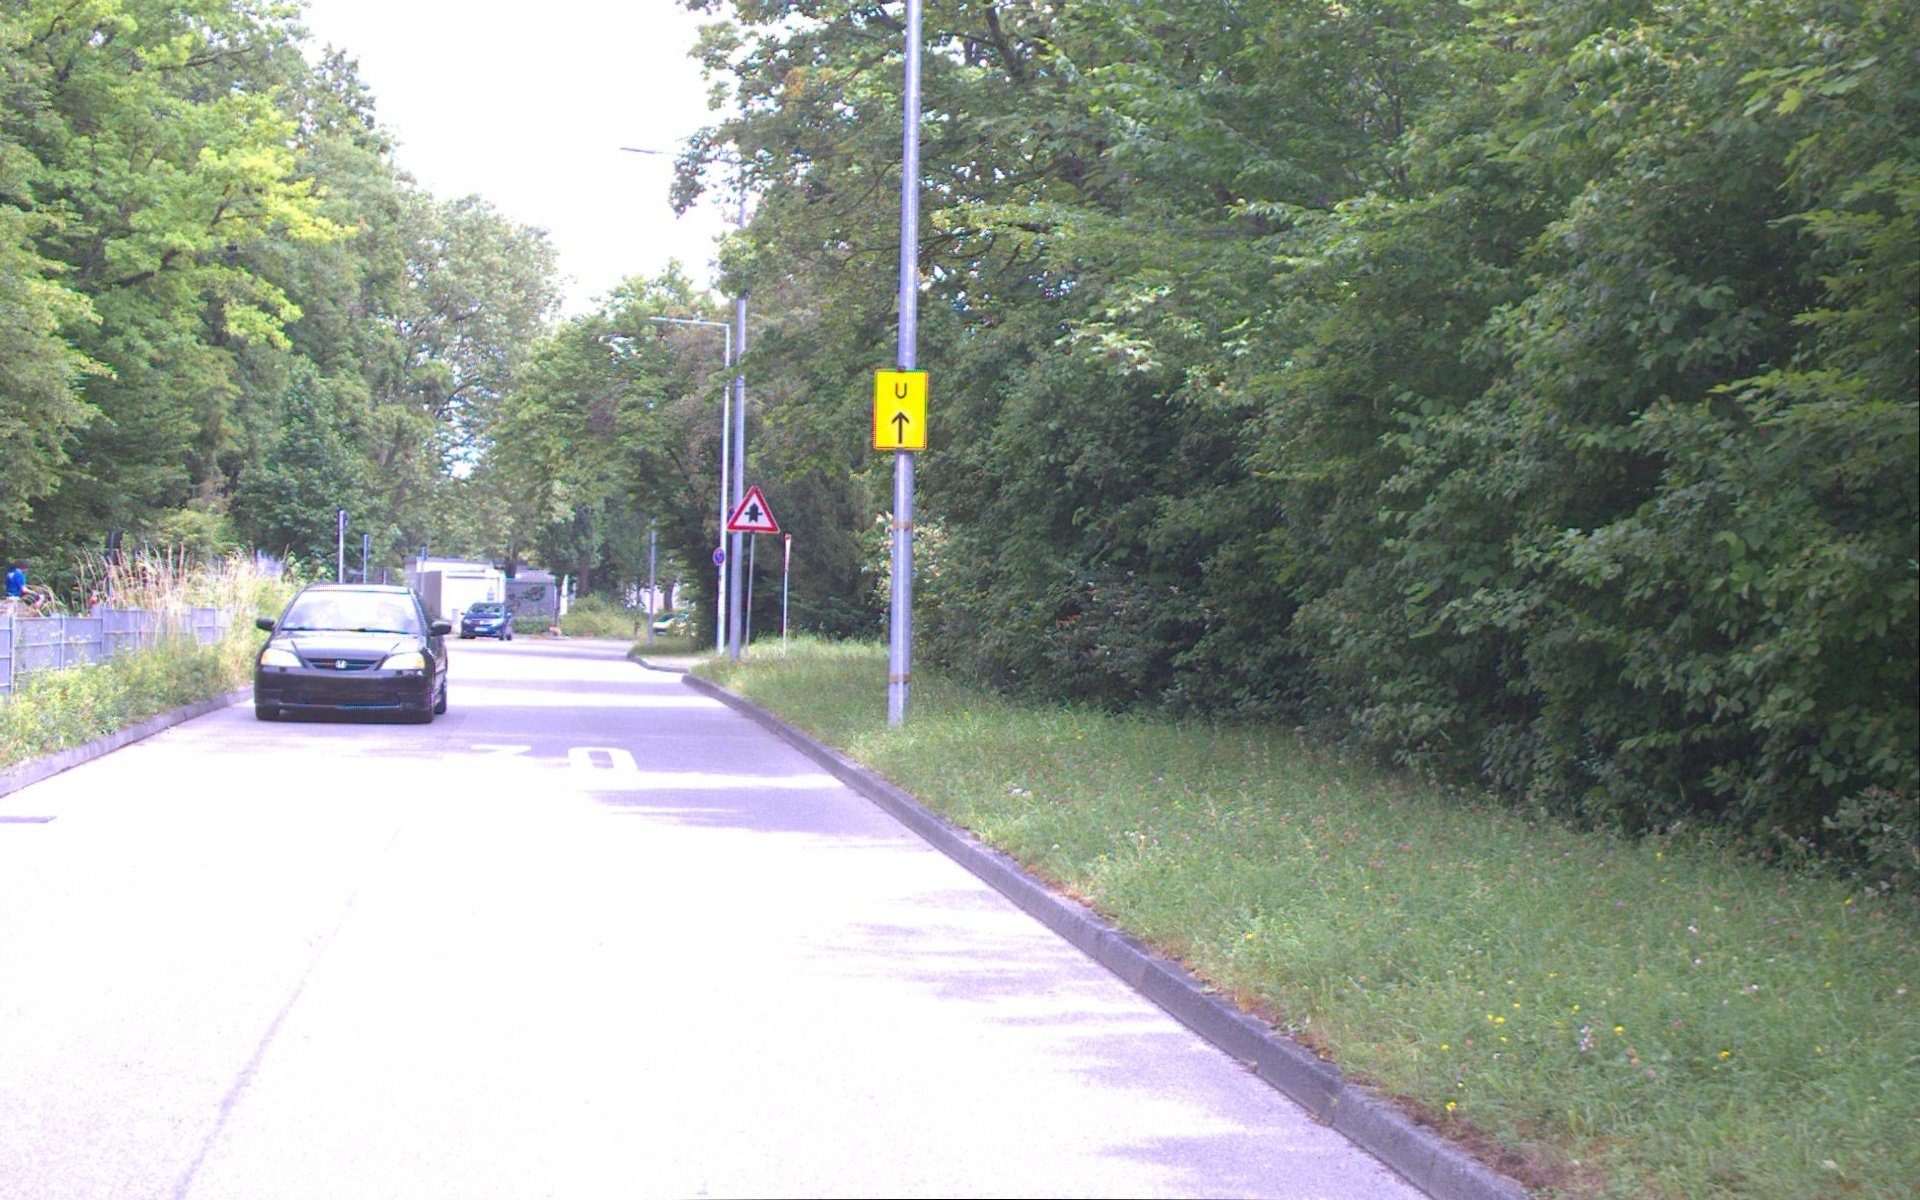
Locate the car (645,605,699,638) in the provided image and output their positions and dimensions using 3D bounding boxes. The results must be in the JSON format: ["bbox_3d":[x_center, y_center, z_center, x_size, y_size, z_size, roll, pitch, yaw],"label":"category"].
[{"bbox_3d":[-14.613,1.119,174.691,1.860,1.487,3.998,-1,-3,8],"label":"car"}]

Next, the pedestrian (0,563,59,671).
[{"bbox_3d":[-17.831,0.333,65.667,0.877,2.007,0.865,-3,-4,39],"label":"pedestrian"}]

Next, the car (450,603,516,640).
[{"bbox_3d":[-18.943,0.844,136.610,1.979,1.379,4.000,2,0,1],"label":"car"}]

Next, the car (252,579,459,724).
[{"bbox_3d":[-6.017,0.476,34.588,1.692,1.344,4.095,1,0,-5],"label":"car"}]
